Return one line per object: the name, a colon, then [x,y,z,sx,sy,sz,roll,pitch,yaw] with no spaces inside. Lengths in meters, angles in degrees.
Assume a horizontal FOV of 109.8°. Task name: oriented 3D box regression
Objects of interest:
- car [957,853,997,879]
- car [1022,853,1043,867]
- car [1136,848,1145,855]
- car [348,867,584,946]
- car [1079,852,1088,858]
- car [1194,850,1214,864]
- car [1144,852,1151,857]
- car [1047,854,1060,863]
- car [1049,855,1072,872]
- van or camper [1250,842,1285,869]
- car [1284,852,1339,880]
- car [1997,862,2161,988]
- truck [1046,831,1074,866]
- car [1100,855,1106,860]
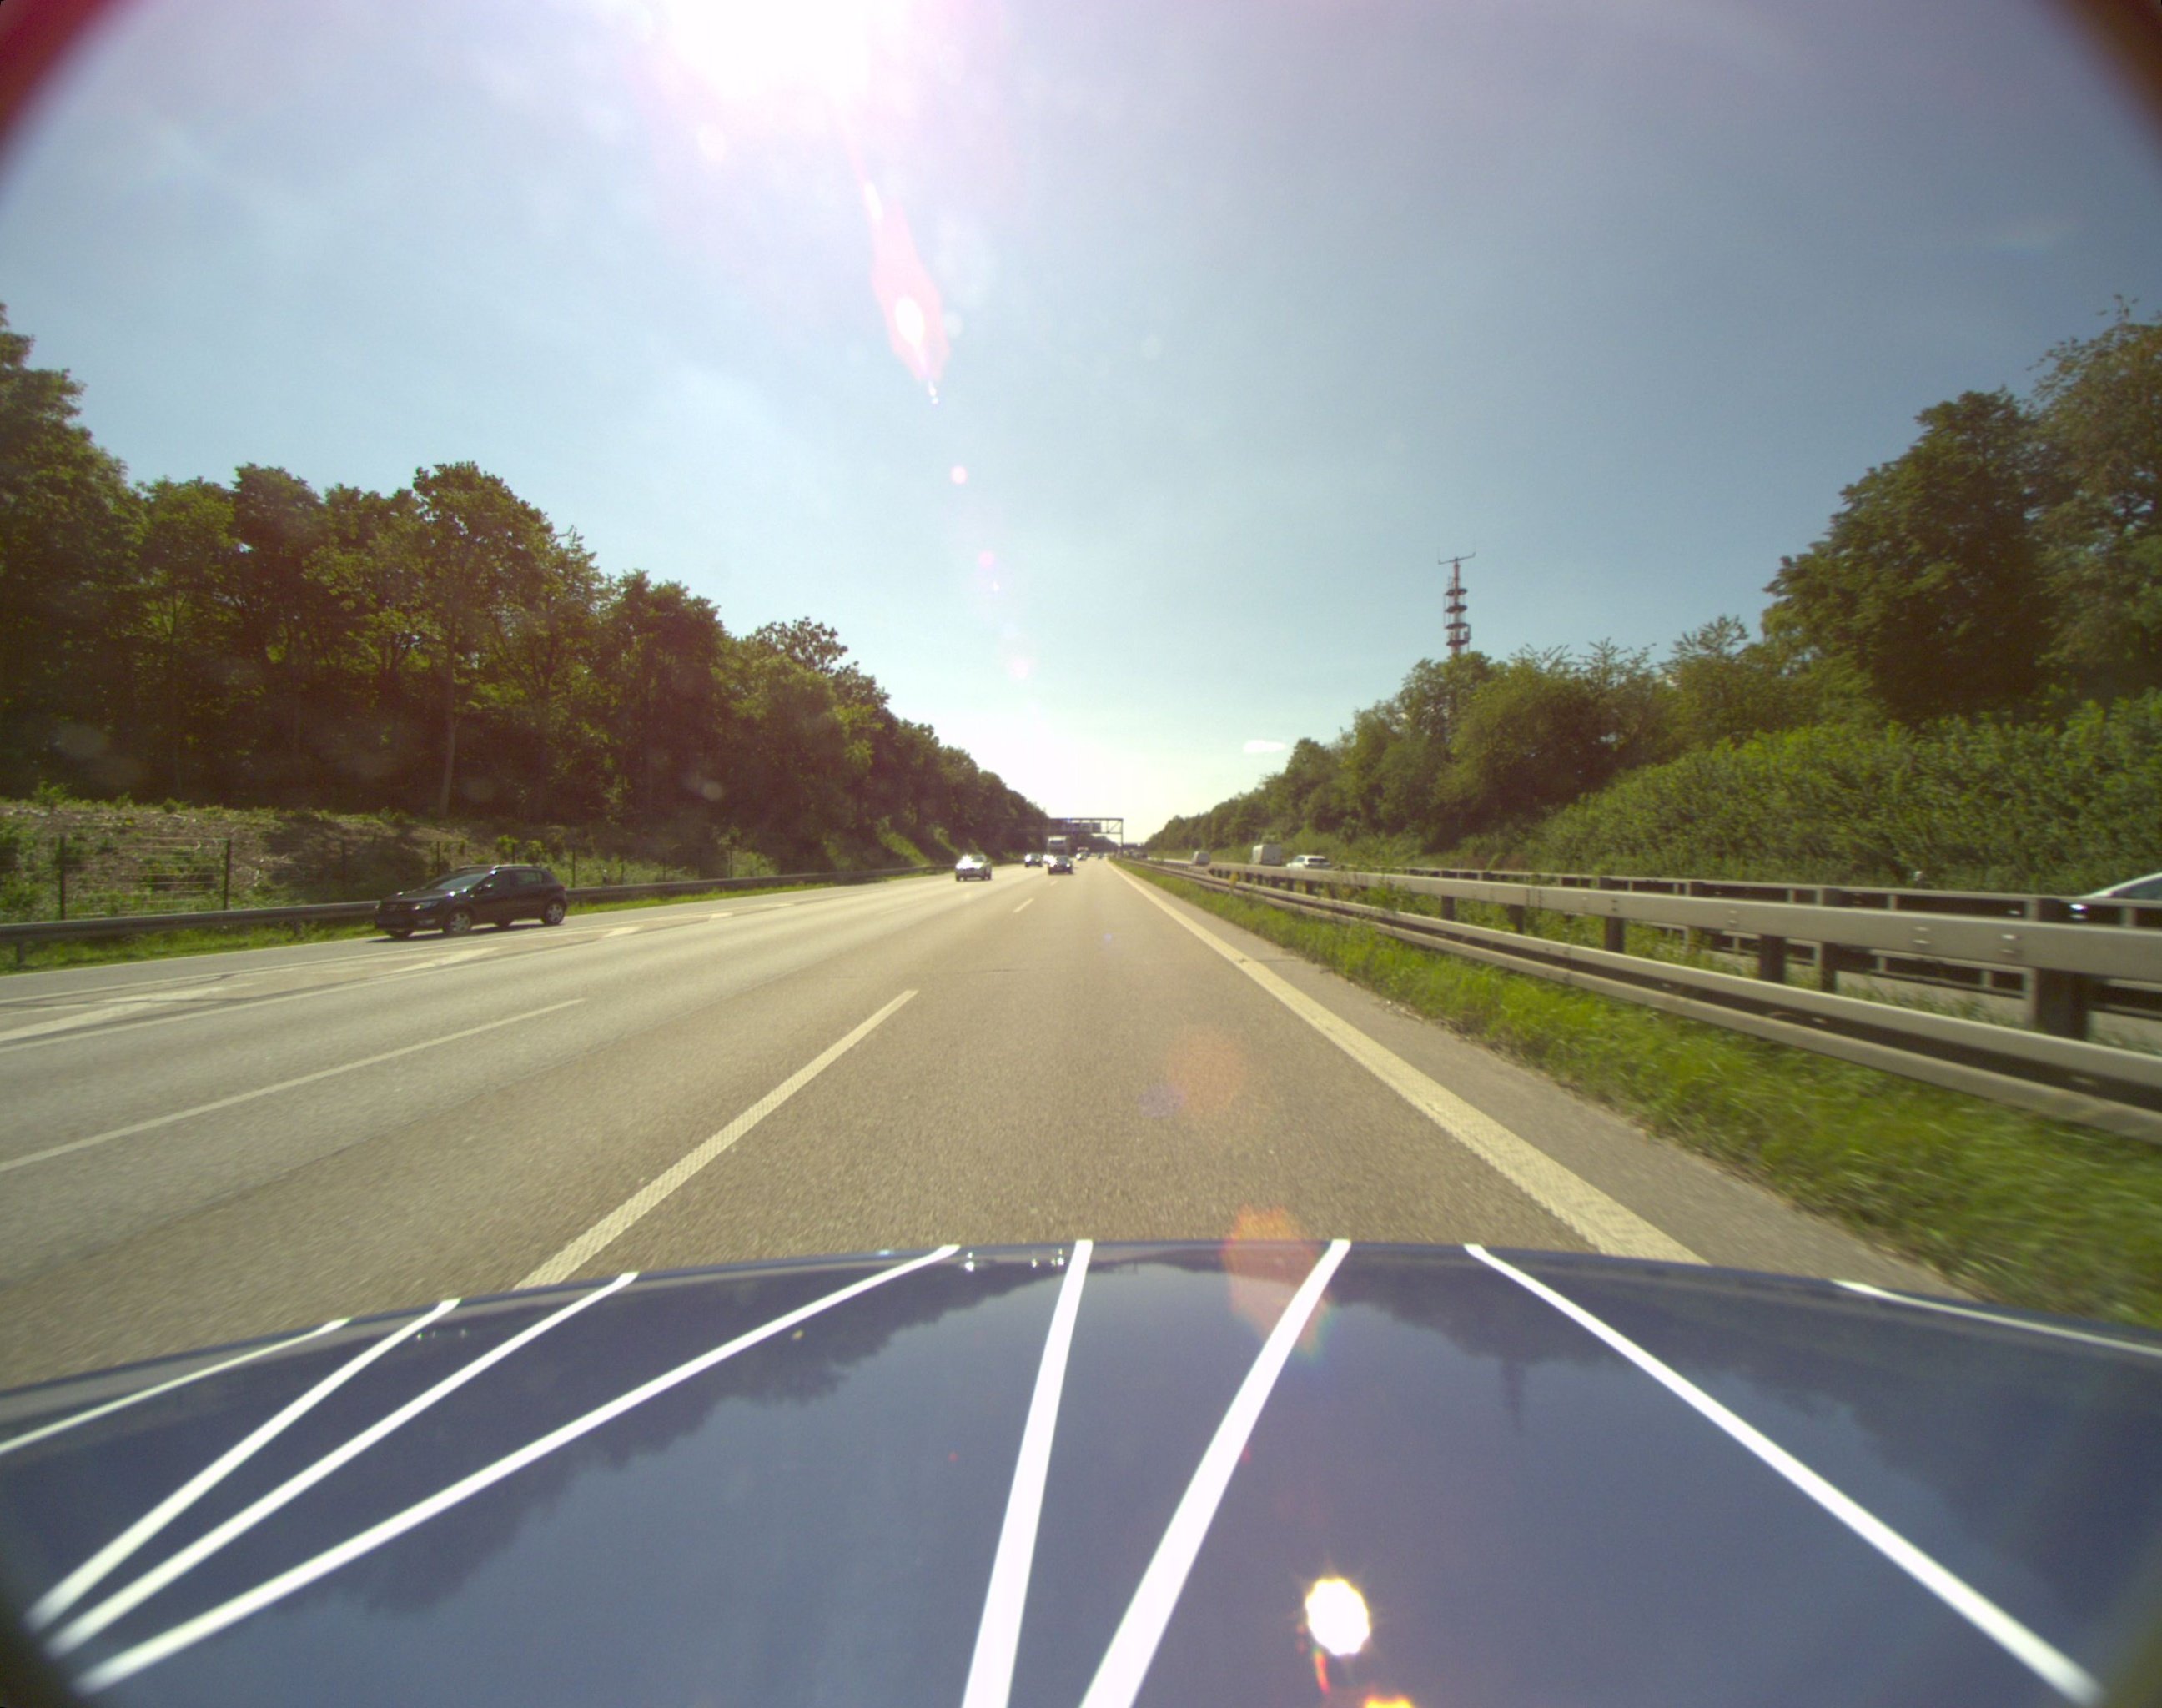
car: [-6.647,0.744,48.772,1.848,1.559,4.036,-2,0,2]
car: [-6.032,0.720,95.132,1.924,1.659,4.687,-2,0,3]
car: [14.583,-0.551,186.786,1.816,1.607,3.913,1,0,1]
car: [-14.671,1.179,18.500,1.768,1.559,4.261,-2,0,11]
car: [0.467,0.284,167.564,1.831,1.346,3.679,0,0,2]
car: [15.563,0.362,96.621,1.750,1.819,5.168,1,0,1]
car: [19.671,0.154,225.177,1.661,1.607,3.914,2,0,2]
car: [-4.693,0.791,131.227,1.916,1.390,4.138,-1,0,1]
car: [-1.513,0.715,57.338,1.537,1.265,2.770,-1,0,1]
van or camper: [18.823,0.155,76.965,2.043,2.545,6.198,1,0,1]
car: [14.359,0.706,47.738,1.883,1.601,5.309,1,0,1]
car: [13.611,0.881,8.647,1.670,1.455,3.882,2,0,1]
truck: [-2.220,-0.533,83.200,2.676,3.661,6.484,-1,0,1]
car: [5.549,0.780,193.100,1.591,1.291,3.383,0,0,2]
